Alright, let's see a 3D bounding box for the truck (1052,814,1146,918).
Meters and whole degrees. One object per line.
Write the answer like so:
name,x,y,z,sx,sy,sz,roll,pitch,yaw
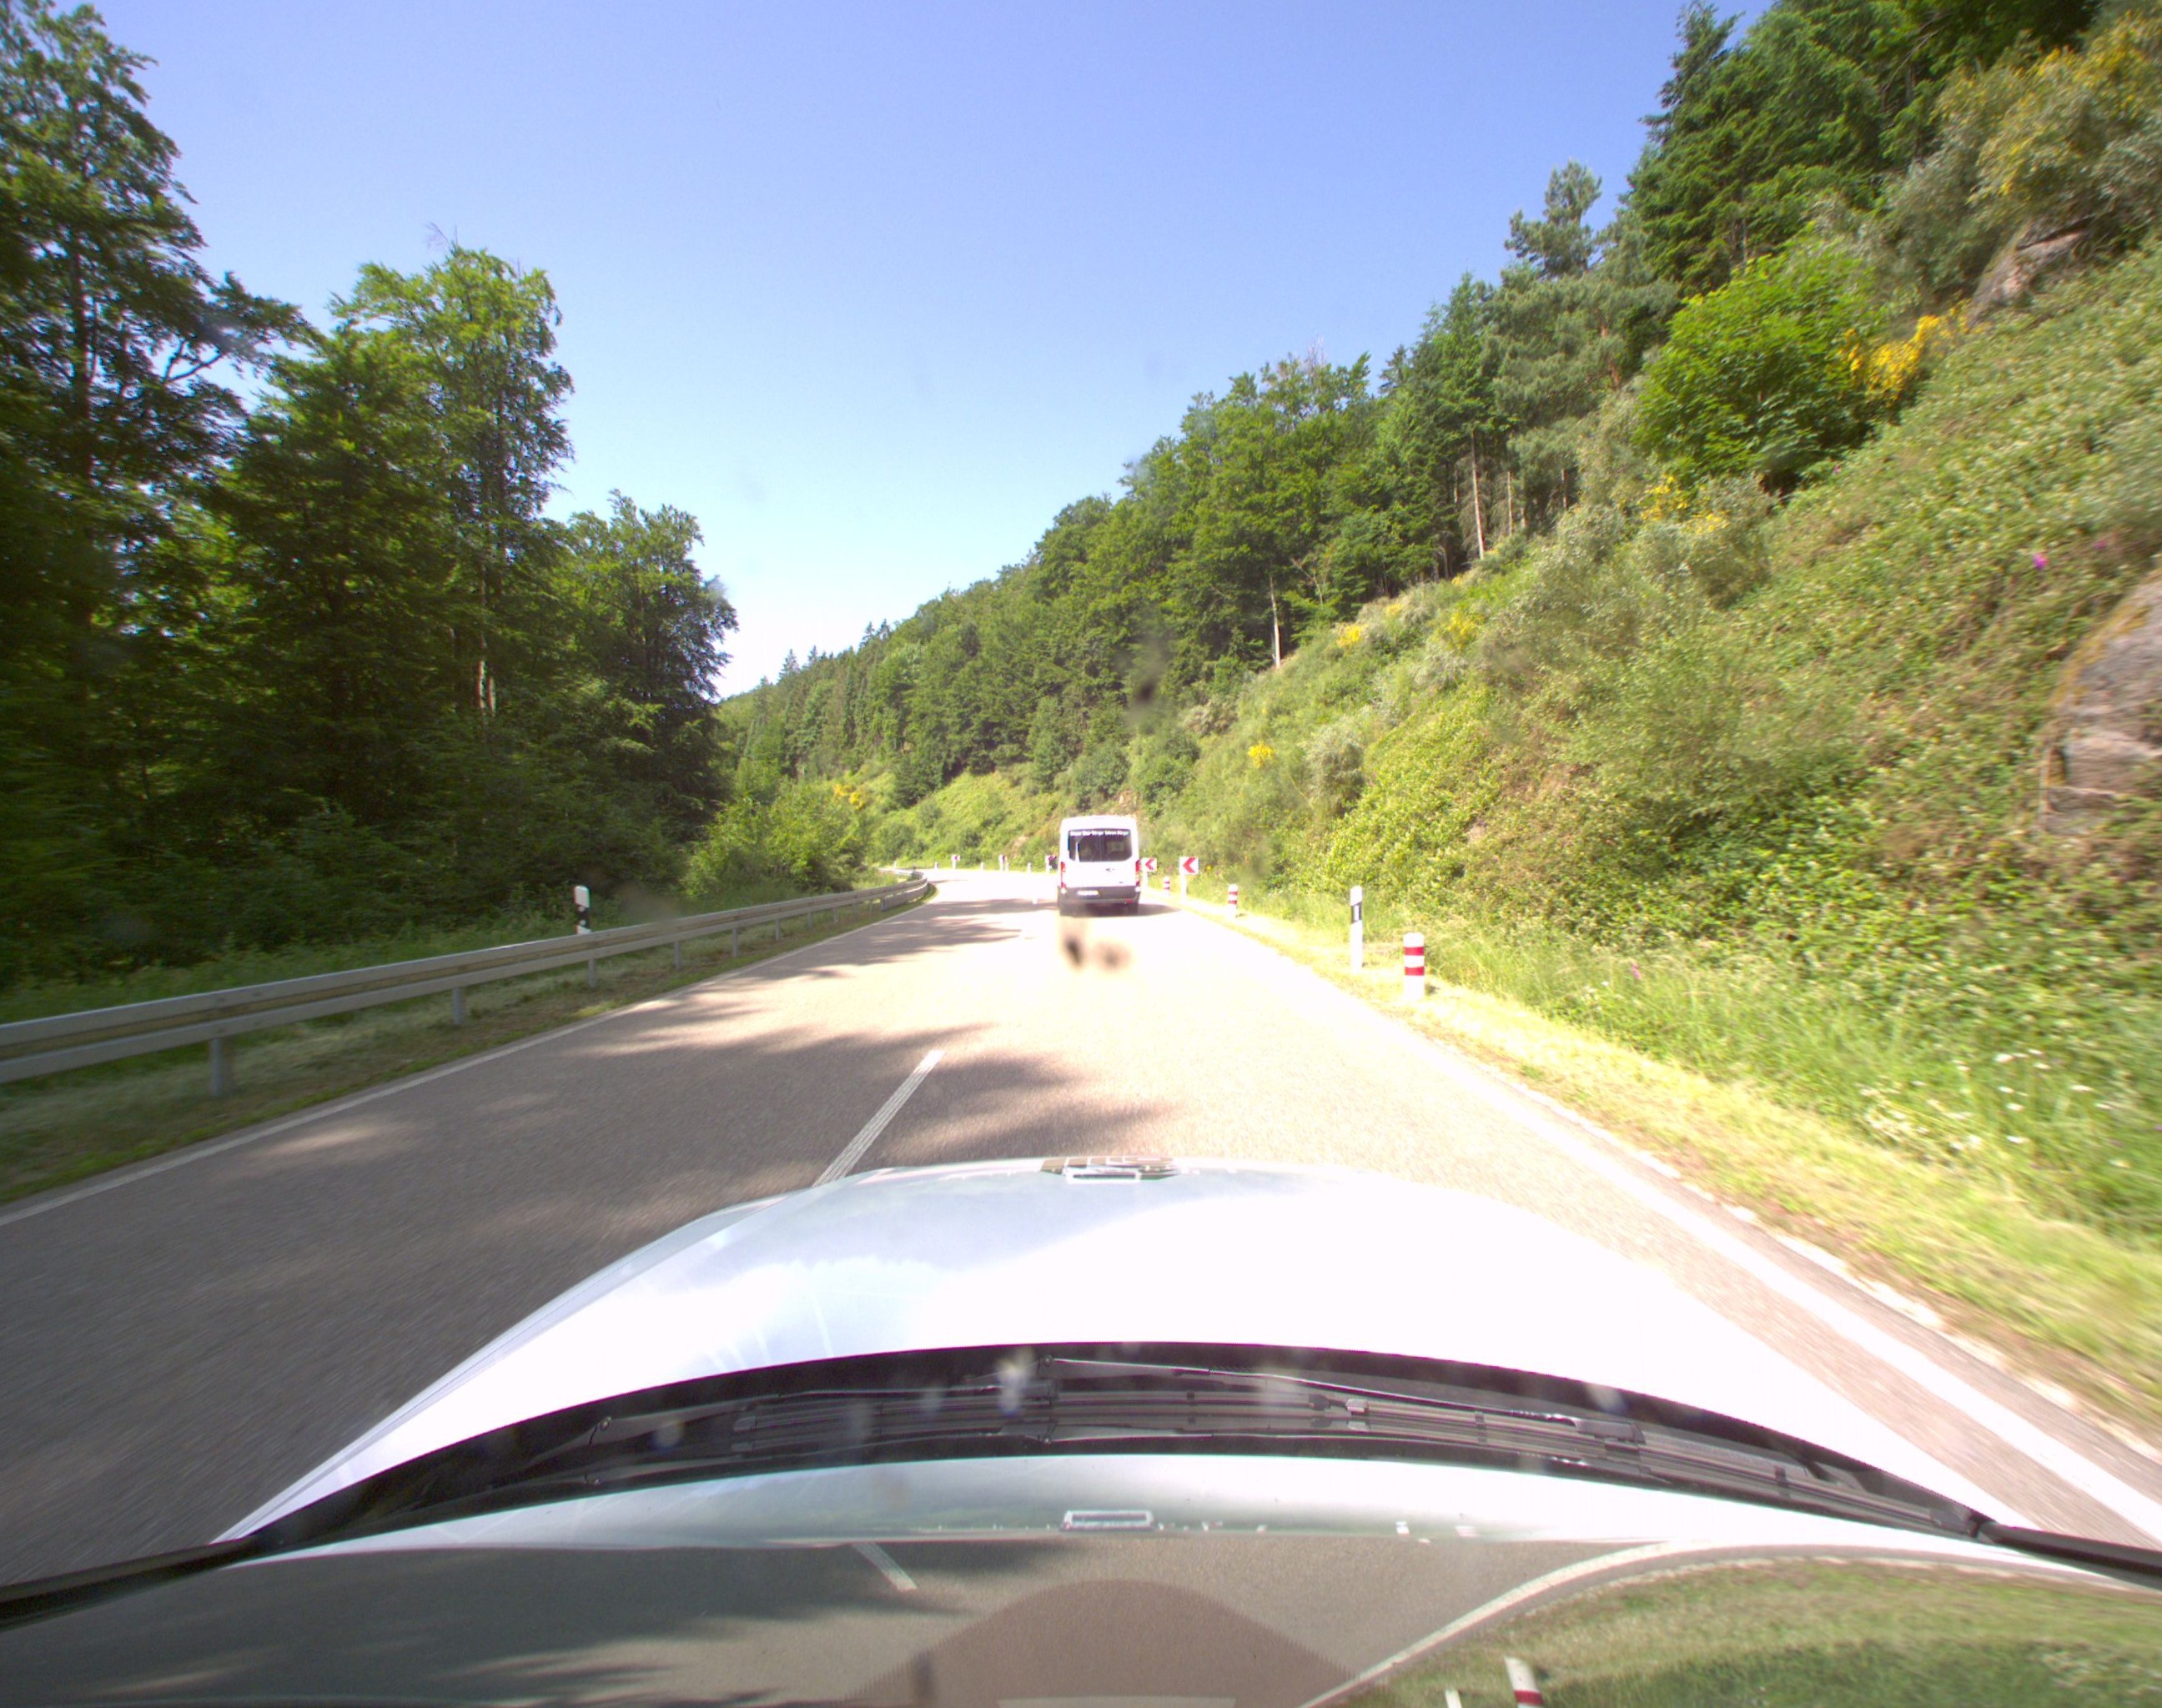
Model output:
truck,0.353,0.302,22.055,2.079,2.459,4.868,-1,0,-4
